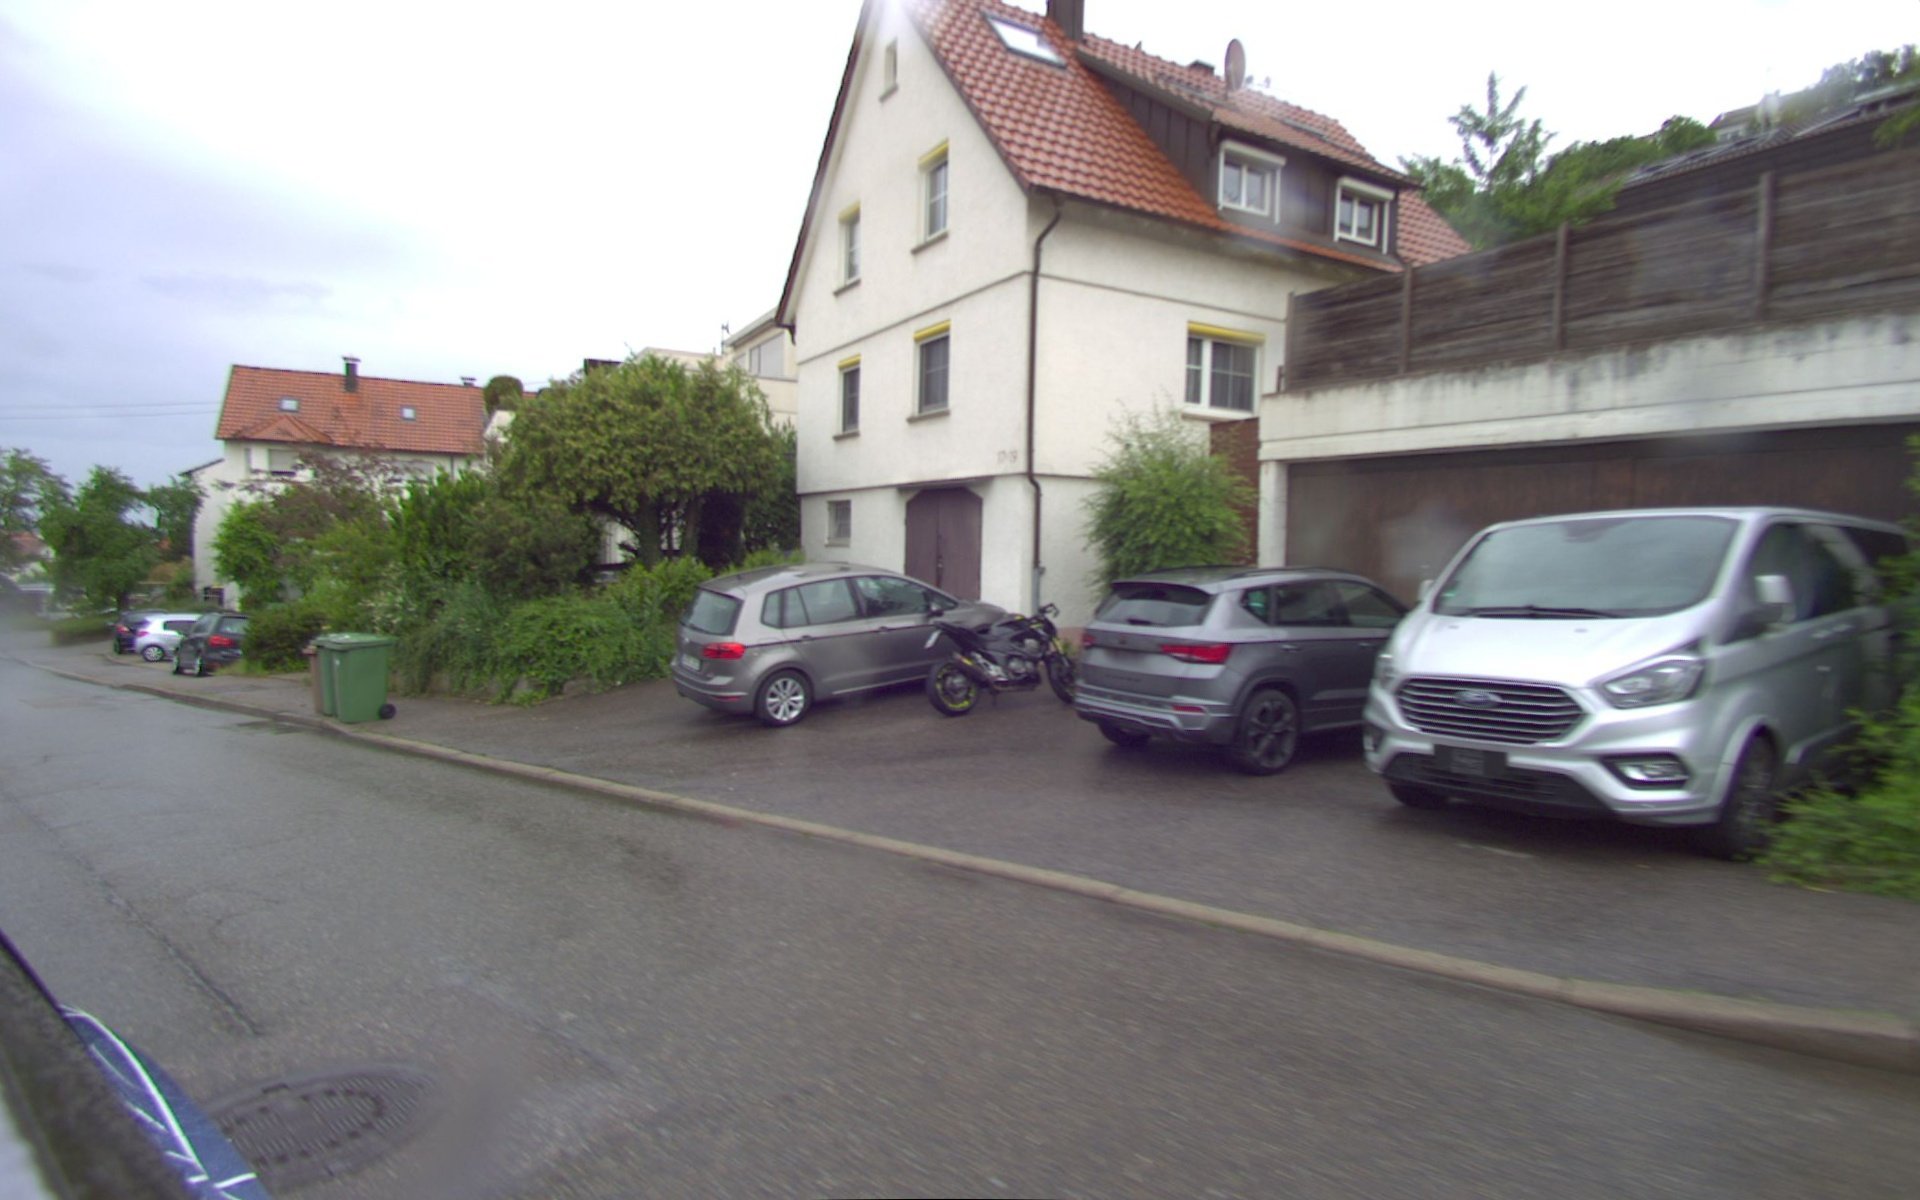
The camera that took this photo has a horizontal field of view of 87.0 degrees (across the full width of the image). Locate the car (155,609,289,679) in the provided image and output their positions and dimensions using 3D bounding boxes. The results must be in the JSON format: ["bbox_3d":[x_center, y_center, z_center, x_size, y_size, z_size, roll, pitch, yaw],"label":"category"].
[{"bbox_3d":[-18.655,1.048,25.515,4.415,1.609,1.784,0,-1,41],"label":"car"}]

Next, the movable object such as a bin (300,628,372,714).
[{"bbox_3d":[-8.297,0.926,13.454,0.637,1.072,0.597,-1,1,37],"label":"movable object such as a bin"}]

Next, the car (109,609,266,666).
[{"bbox_3d":[-24.751,1.216,32.607,3.775,1.489,1.808,7,-5,-34],"label":"car"}]

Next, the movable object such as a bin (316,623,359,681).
[{"bbox_3d":[-12.068,1.001,19.632,0.688,1.091,0.711,0,-1,-30],"label":"movable object such as a bin"}]

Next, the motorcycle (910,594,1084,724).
[{"bbox_3d":[0.409,0.591,10.865,1.755,1.179,0.642,-4,4,-28],"label":"motorcycle"}]

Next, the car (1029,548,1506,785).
[{"bbox_3d":[2.799,0.404,8.978,3.999,1.650,1.899,-2,2,-33],"label":"car"}]

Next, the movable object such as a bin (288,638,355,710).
[{"bbox_3d":[-8.768,1.001,13.901,0.563,0.935,0.597,-1,1,37],"label":"movable object such as a bin"}]

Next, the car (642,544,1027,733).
[{"bbox_3d":[-1.396,0.311,11.899,4.002,1.704,1.898,-5,3,-36],"label":"car"}]

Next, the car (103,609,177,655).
[{"bbox_3d":[-28.800,1.058,35.478,1.745,1.386,4.253,-5,3,-42],"label":"car"}]

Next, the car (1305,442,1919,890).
[{"bbox_3d":[4.814,0.309,6.693,5.015,1.959,2.147,0,-1,-33],"label":"car"}]

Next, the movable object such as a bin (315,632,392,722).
[{"bbox_3d":[-7.762,0.964,12.955,0.697,1.072,0.597,-1,1,37],"label":"movable object such as a bin"}]
